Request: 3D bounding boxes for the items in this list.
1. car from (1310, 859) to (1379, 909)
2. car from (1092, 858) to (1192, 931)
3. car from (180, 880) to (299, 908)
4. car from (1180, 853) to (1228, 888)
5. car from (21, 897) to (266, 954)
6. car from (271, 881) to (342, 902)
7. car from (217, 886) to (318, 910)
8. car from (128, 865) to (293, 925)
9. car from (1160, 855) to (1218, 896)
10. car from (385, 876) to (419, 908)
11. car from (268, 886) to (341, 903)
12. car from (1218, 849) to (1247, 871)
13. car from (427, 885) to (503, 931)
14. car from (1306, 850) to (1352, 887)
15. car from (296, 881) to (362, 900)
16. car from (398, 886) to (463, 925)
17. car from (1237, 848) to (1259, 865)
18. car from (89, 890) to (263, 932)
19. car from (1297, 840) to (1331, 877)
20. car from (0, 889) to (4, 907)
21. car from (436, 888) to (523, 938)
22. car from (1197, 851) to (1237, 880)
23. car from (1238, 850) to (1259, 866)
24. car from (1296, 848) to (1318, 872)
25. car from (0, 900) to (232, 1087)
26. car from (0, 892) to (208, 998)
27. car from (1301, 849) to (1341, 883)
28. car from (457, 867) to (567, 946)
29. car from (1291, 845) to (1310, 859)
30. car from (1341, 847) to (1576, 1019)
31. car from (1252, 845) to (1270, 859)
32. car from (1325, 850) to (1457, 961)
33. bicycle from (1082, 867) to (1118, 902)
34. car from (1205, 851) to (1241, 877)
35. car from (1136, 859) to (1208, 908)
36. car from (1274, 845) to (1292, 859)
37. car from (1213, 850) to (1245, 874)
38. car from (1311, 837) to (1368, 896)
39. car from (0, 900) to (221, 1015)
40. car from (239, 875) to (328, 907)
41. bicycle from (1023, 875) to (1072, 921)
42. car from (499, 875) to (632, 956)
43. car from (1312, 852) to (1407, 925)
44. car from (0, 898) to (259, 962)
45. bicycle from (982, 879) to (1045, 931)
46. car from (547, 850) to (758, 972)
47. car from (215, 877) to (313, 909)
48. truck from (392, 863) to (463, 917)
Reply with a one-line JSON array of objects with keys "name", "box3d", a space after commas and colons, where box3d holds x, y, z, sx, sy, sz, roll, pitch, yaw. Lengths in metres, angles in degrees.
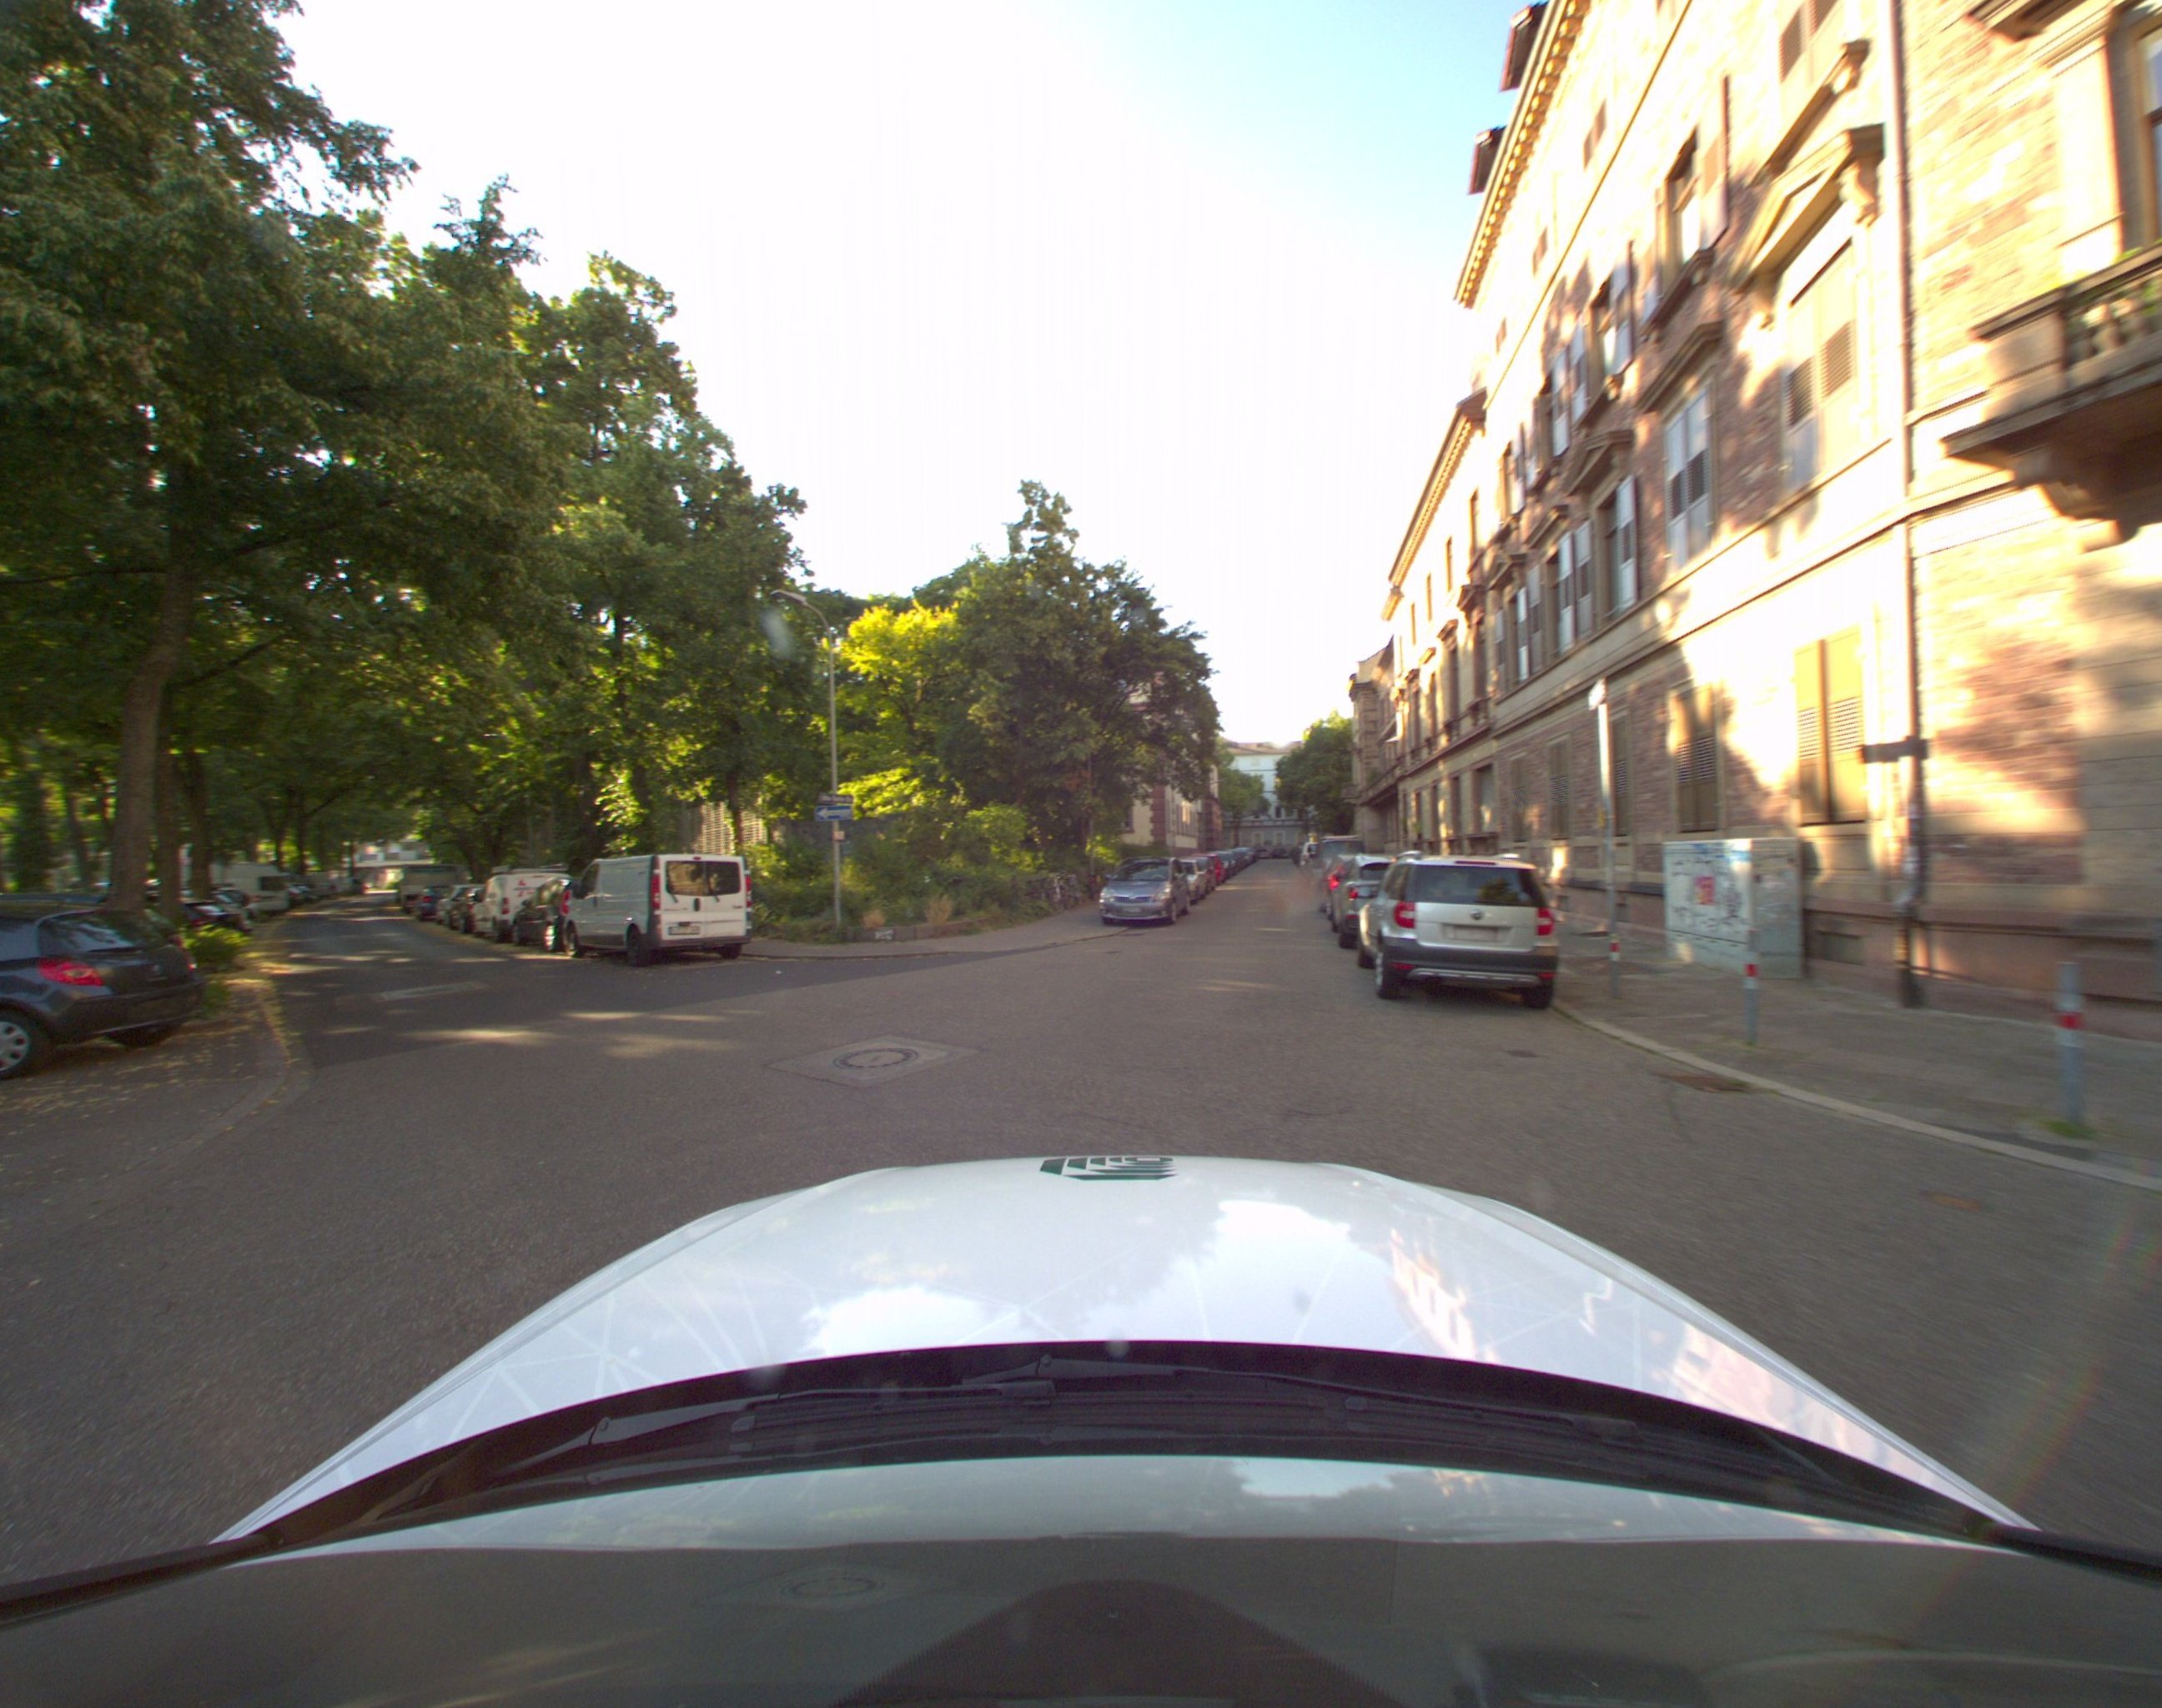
[{"name": "car", "box3d": [8.139, 0.881, 25.428, 1.785, 1.345, 3.970, 1, 0, 14]}, {"name": "car", "box3d": [1.695, 0.951, 21.149, 1.813, 1.615, 4.308, 1, 1, 15]}, {"name": "car", "box3d": [-45.199, 2.136, 43.832, 4.081, 1.474, 1.812, 1, -3, -12]}, {"name": "car", "box3d": [5.949, 0.749, 38.949, 1.813, 1.500, 3.946, 1, 1, 15]}, {"name": "car", "box3d": [-24.724, 1.837, 21.680, 3.833, 1.391, 1.724, 1, -3, -23]}, {"name": "car", "box3d": [-68.174, 3.295, 71.747, 4.081, 1.789, 1.812, 1, -3, -12]}, {"name": "car", "box3d": [-51.008, 2.777, 51.165, 4.081, 1.474, 1.812, 1, -3, -12]}, {"name": "car", "box3d": [-37.215, 1.737, 34.938, 4.488, 2.477, 1.812, 1, -3, -12]}, {"name": "car", "box3d": [4.448, 0.816, 33.042, 1.813, 1.478, 3.946, 1, 1, 15]}, {"name": "car", "box3d": [-43.801, 2.408, 52.568, 1.584, 1.941, 3.558, -1, -1, -39]}, {"name": "car", "box3d": [-66.291, 3.454, 69.596, 4.081, 1.474, 1.812, 1, -3, -12]}, {"name": "car", "box3d": [11.320, 0.436, 60.531, 1.813, 1.500, 3.946, 1, 1, 15]}, {"name": "car", "box3d": [-21.950, 1.856, 28.978, 3.555, 1.467, 1.586, -2, -1, 44]}, {"name": "car", "box3d": [11.066, 0.589, 36.505, 1.785, 1.523, 3.970, 1, 0, 14]}, {"name": "car", "box3d": [-70.797, 3.456, 76.715, 4.081, 1.789, 1.812, 1, -3, -12]}, {"name": "car", "box3d": [-26.106, 2.029, 32.648, 3.555, 1.385, 1.586, -2, -1, 44]}, {"name": "car", "box3d": [15.583, 0.209, 75.825, 1.813, 1.500, 3.946, 1, 1, 15]}, {"name": "car", "box3d": [-33.198, 2.072, 30.019, 3.833, 1.482, 1.724, 1, -3, -23]}, {"name": "car", "box3d": [13.579, 0.242, 47.582, 1.785, 2.072, 3.970, 1, 0, 14]}, {"name": "car", "box3d": [-109.125, 4.420, 80.742, 1.724, 1.820, 3.954, -3, 1, -38]}, {"name": "car", "box3d": [-18.786, 1.785, 25.381, 3.555, 1.386, 1.586, -2, -1, 44]}, {"name": "car", "box3d": [7.635, 0.628, 45.532, 1.813, 1.500, 3.946, 1, 1, 15]}, {"name": "car", "box3d": [16.683, 0.357, 80.828, 1.813, 1.500, 3.946, 1, 1, 15]}, {"name": "car", "box3d": [20.208, 0.500, 73.053, 1.785, 2.017, 3.970, 1, 0, 14]}, {"name": "car", "box3d": [-10.520, 1.201, 7.238, 3.735, 1.521, 1.597, 1, -1, -19]}, {"name": "car", "box3d": [-16.911, 1.412, 13.038, 3.617, 1.562, 1.597, 1, -1, -19]}, {"name": "car", "box3d": [12.240, 0.564, 41.740, 1.785, 1.622, 3.970, 1, 0, 14]}, {"name": "car", "box3d": [-15.332, 1.356, 21.870, 3.852, 1.903, 1.586, -2, -1, 42]}, {"name": "car", "box3d": [29.013, -0.298, 107.960, 1.982, 1.684, 4.009, 0, -2, 9]}, {"name": "car", "box3d": [4.460, 0.789, 10.330, 1.902, 1.657, 4.202, 1, 0, 14]}, {"name": "car", "box3d": [23.881, -0.275, 108.192, 1.982, 1.684, 4.009, 0, -2, 9]}, {"name": "car", "box3d": [5.643, 0.813, 15.353, 1.813, 1.723, 4.561, 1, 1, 15]}, {"name": "bicycle", "box3d": [0.705, 1.046, 28.731, 0.592, 1.101, 2.638, -2, 0, 16]}, {"name": "car", "box3d": [8.796, 0.572, 50.289, 1.813, 1.500, 3.946, 1, 1, 15]}, {"name": "car", "box3d": [3.161, 0.950, 27.601, 1.813, 1.447, 3.946, 1, 1, 15]}, {"name": "car", "box3d": [26.744, -0.294, 107.860, 1.982, 1.684, 4.009, 0, -2, 9]}, {"name": "car", "box3d": [10.152, 0.509, 55.531, 1.813, 1.500, 3.946, 1, 1, 15]}, {"name": "car", "box3d": [9.801, 0.422, 31.098, 1.785, 2.072, 3.970, 1, 0, 14]}, {"name": "car", "box3d": [-14.810, 1.392, 11.255, 3.618, 1.447, 1.597, 1, -1, -19]}, {"name": "car", "box3d": [-56.601, 2.628, 57.875, 4.081, 2.210, 1.812, 1, -3, -12]}, {"name": "bicycle", "box3d": [-0.876, 1.172, 22.383, 0.592, 1.101, 2.637, -2, 0, 14]}, {"name": "car", "box3d": [-11.956, 1.351, 18.809, 3.664, 1.637, 1.586, -2, -1, 41]}, {"name": "car", "box3d": [6.972, 0.789, 20.734, 1.786, 1.614, 3.968, 1, 0, 12]}, {"name": "car", "box3d": [-22.707, 1.757, 19.474, 3.833, 1.391, 1.724, 1, -3, -23]}, {"name": "bicycle", "box3d": [-1.595, 1.196, 19.749, 0.592, 1.101, 2.638, -2, 0, 16]}, {"name": "car", "box3d": [-8.387, 1.002, 15.765, 4.599, 2.003, 1.963, -2, -1, 40]}, {"name": "car", "box3d": [-52.979, 2.549, 52.877, 4.081, 2.040, 1.812, 1, -3, -12]}, {"name": "truck", "box3d": [-31.068, 1.672, 38.652, 2.387, 2.352, 4.331, -1, -1, -42]}]
